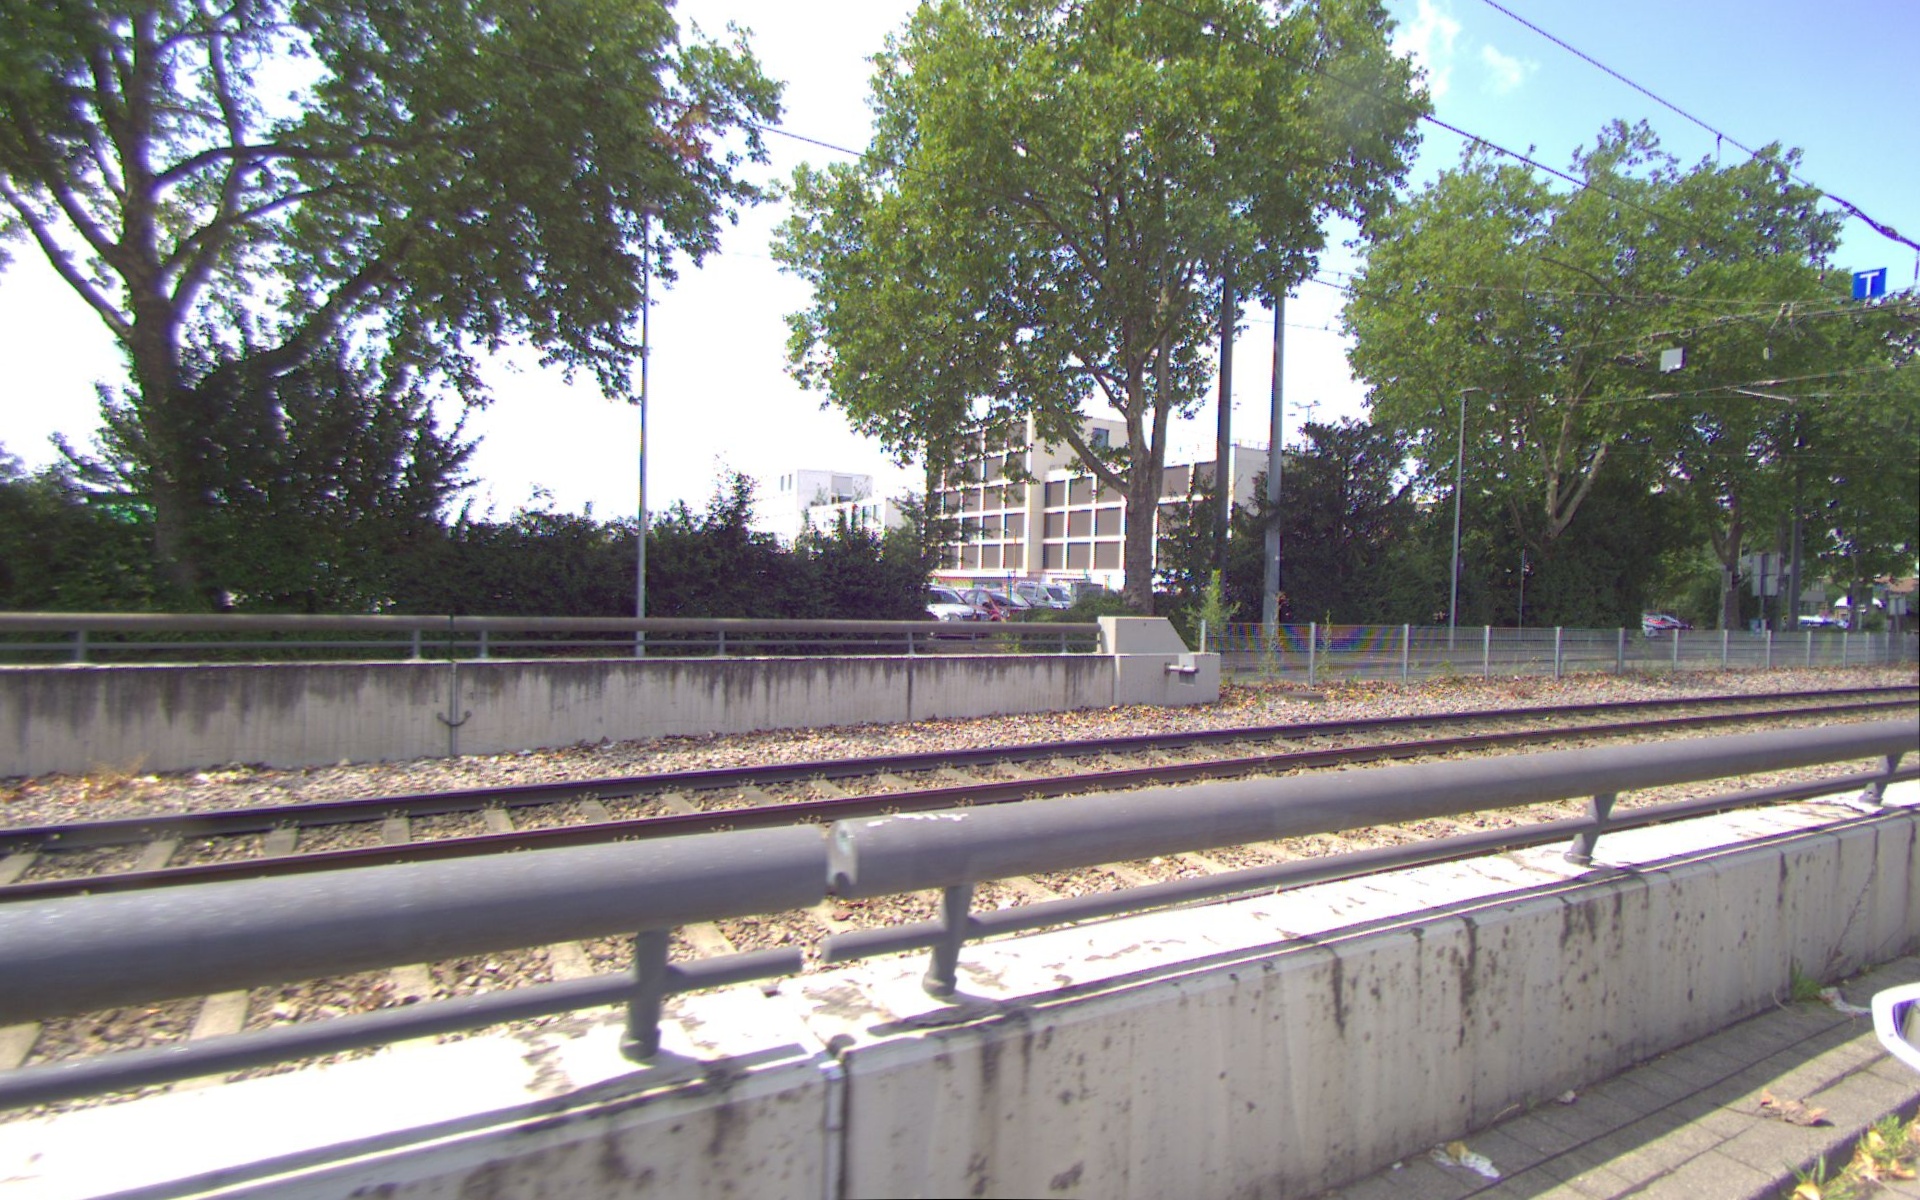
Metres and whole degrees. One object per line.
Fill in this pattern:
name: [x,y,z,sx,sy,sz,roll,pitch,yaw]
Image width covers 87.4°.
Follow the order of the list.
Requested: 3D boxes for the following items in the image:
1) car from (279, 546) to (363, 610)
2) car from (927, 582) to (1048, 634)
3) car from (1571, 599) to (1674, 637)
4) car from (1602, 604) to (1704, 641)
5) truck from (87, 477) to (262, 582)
car: [-19.864,-0.684,31.354,1.977,1.795,3.968,2,1,-30]
car: [0.795,0.220,31.450,1.977,1.461,3.968,2,1,-30]
car: [33.807,0.918,51.348,1.785,1.773,3.963,1,1,-33]
car: [35.844,1.139,52.026,1.785,1.773,3.963,1,1,-33]
truck: [-26.042,-2.128,33.806,2.670,2.830,8.805,2,-1,-25]
